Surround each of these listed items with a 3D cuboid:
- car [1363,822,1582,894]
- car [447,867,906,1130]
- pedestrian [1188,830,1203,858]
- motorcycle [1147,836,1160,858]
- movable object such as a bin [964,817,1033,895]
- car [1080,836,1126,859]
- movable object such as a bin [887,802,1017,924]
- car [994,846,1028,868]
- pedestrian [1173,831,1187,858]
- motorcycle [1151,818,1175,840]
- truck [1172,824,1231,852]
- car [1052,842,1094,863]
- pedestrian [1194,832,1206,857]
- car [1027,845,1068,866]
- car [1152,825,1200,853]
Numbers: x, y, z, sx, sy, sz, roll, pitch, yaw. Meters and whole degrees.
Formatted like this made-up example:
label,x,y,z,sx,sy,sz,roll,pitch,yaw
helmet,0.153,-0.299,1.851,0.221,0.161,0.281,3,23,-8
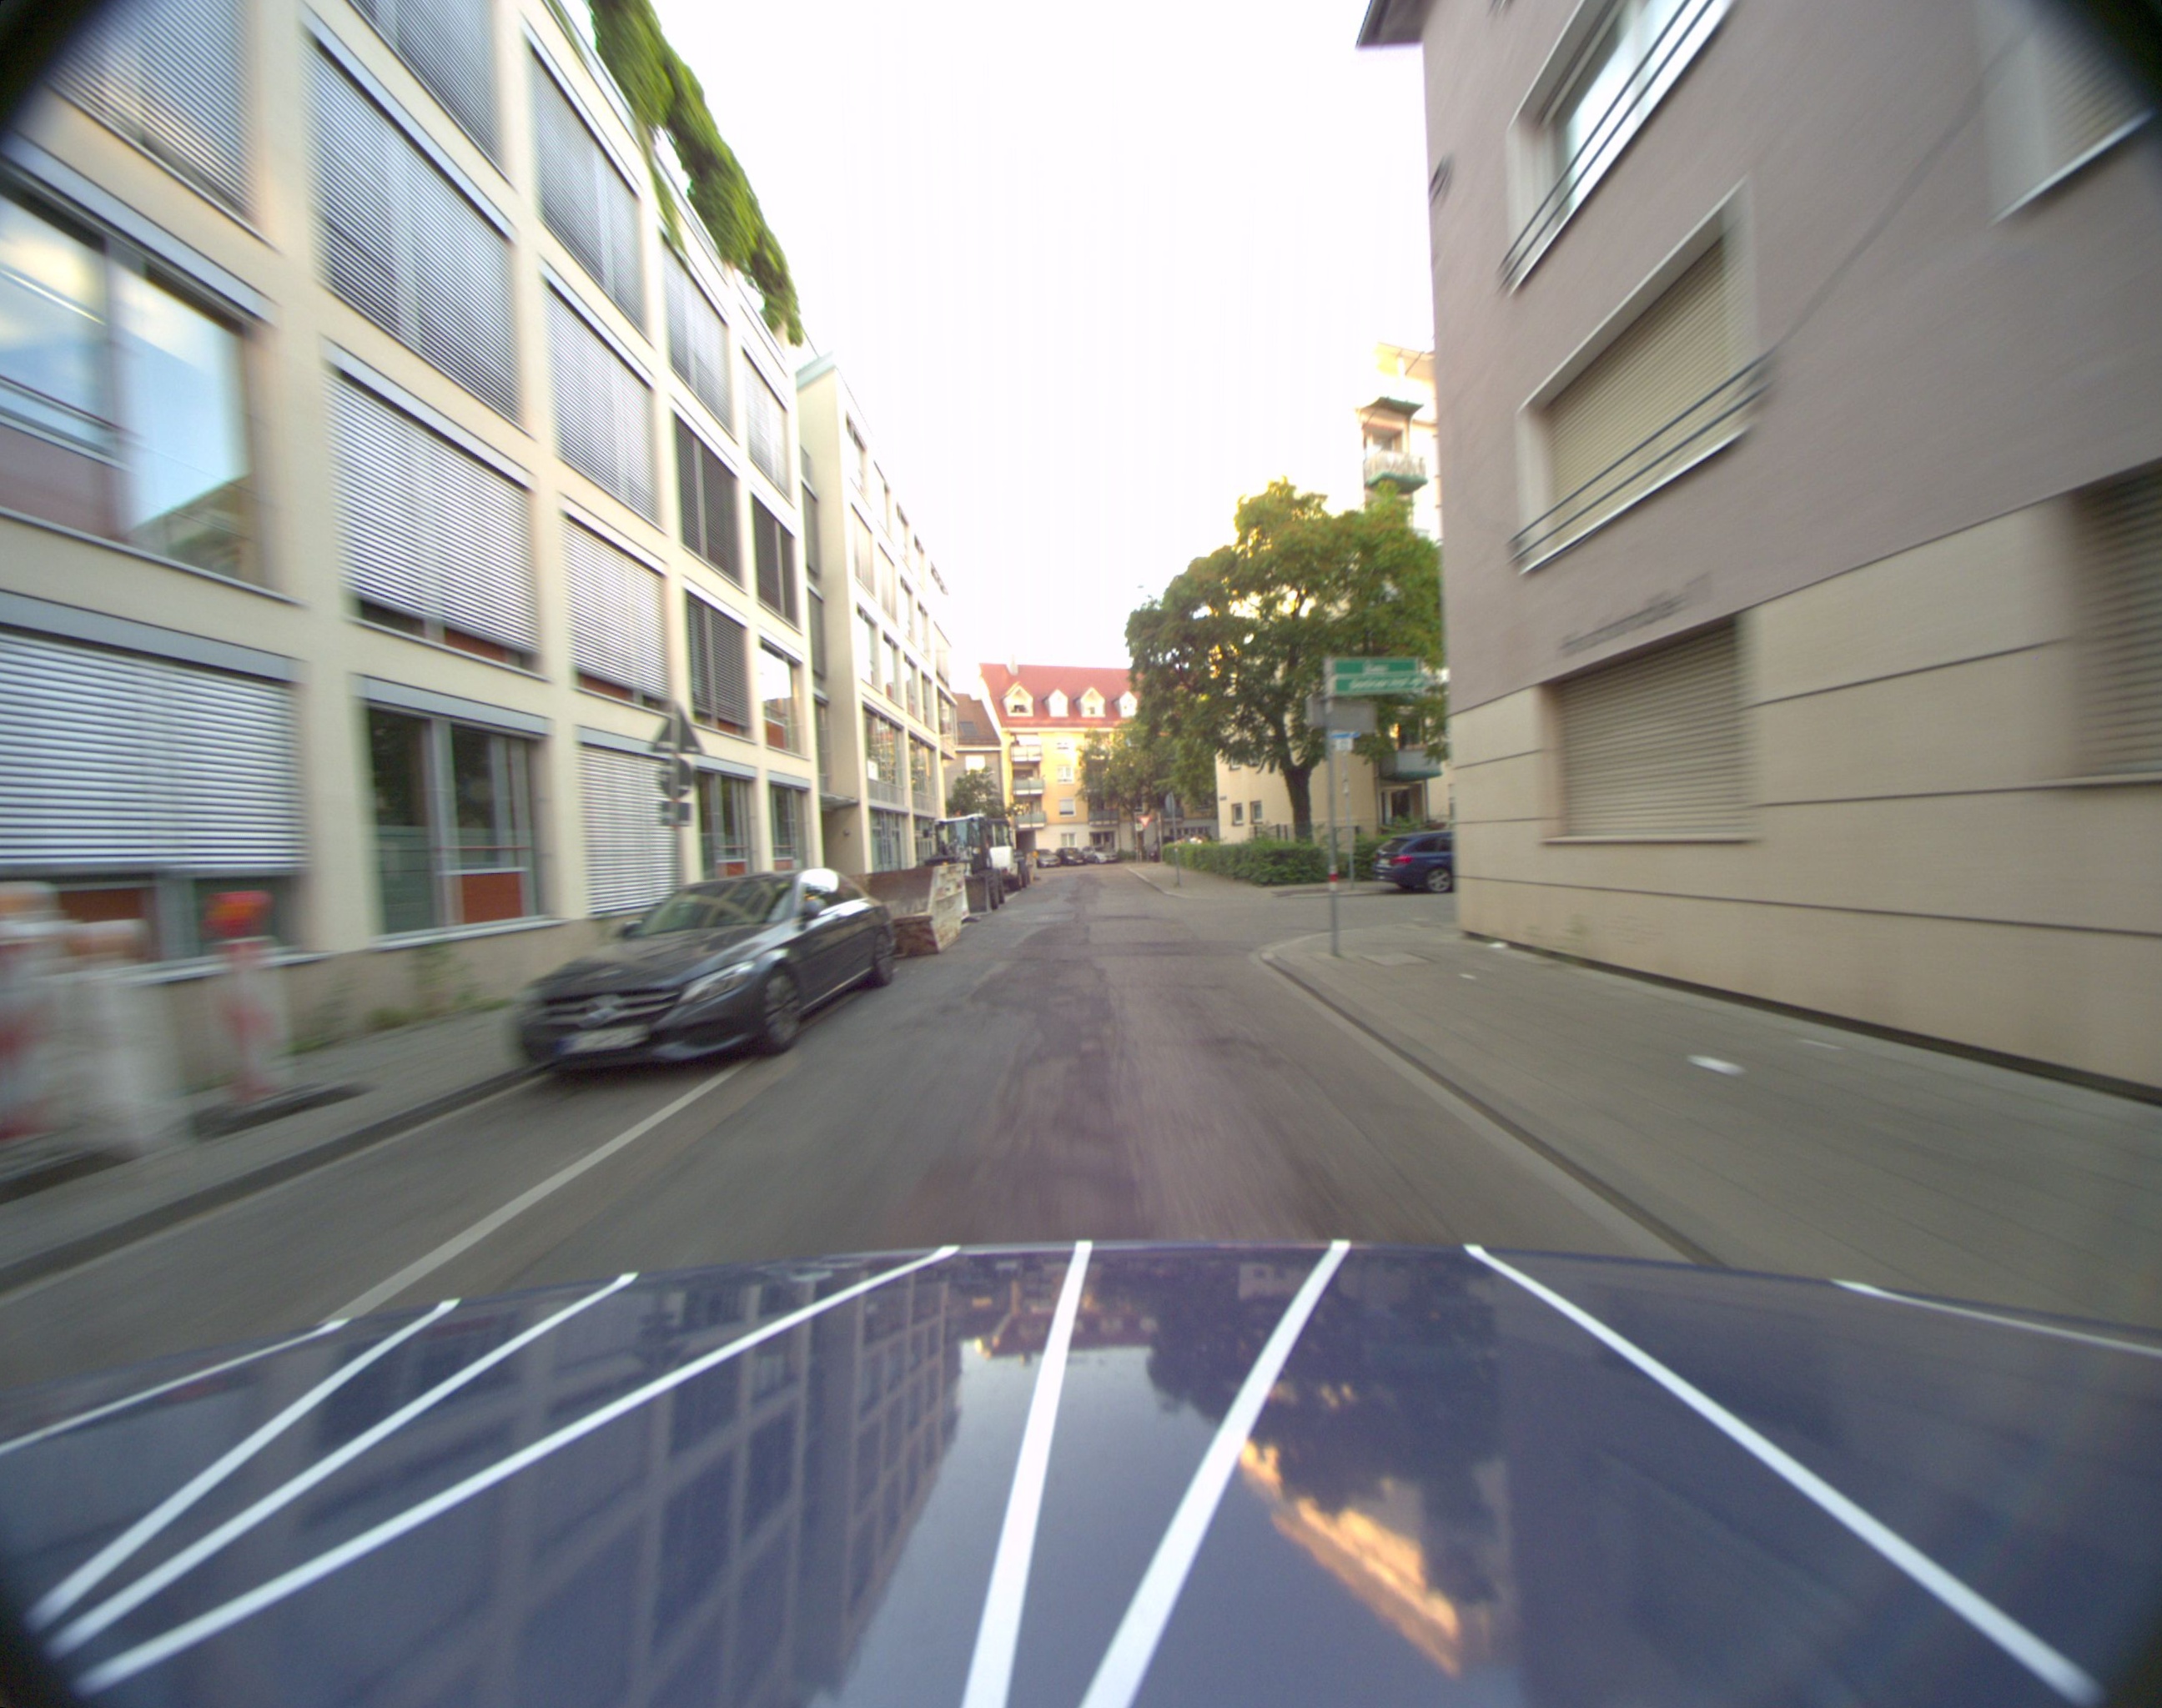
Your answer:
label,x,y,z,sx,sy,sz,roll,pitch,yaw
car,9.281,0.079,18.236,4.356,1.450,1.685,-3,2,-1
car,-3.082,0.961,7.063,1.698,1.398,4.478,-4,1,1
pedestrian,7.554,-0.671,50.006,0.666,1.778,0.698,-3,1,-17
motorcycle,4.947,-0.489,51.645,0.722,1.366,2.225,-3,1,9
movable object such as a bin,-2.997,0.019,28.323,1.800,2.619,4.110,-3,1,3
car,1.782,-0.522,62.797,1.838,1.694,4.802,-4,1,-23
movable object such as a bin,-3.062,0.138,19.482,2.172,2.581,5.541,-3,1,1
car,-5.509,0.229,59.729,1.747,1.518,3.354,-4,3,-21
pedestrian,6.559,-0.626,50.511,0.697,1.778,0.530,-2,1,28
motorcycle,5.730,-1.741,53.412,0.692,1.485,2.220,-4,1,-20
truck,10.445,-1.434,66.384,2.263,2.122,6.009,-4,5,-22
car,-0.691,-0.078,61.794,1.855,1.554,4.073,-4,1,-23
pedestrian,7.704,-0.622,49.134,0.448,1.563,0.660,-4,2,-17
car,-2.728,0.134,60.968,1.874,1.499,4.285,-4,1,-23
car,8.077,-1.359,65.197,2.038,2.122,4.624,-4,5,-22
